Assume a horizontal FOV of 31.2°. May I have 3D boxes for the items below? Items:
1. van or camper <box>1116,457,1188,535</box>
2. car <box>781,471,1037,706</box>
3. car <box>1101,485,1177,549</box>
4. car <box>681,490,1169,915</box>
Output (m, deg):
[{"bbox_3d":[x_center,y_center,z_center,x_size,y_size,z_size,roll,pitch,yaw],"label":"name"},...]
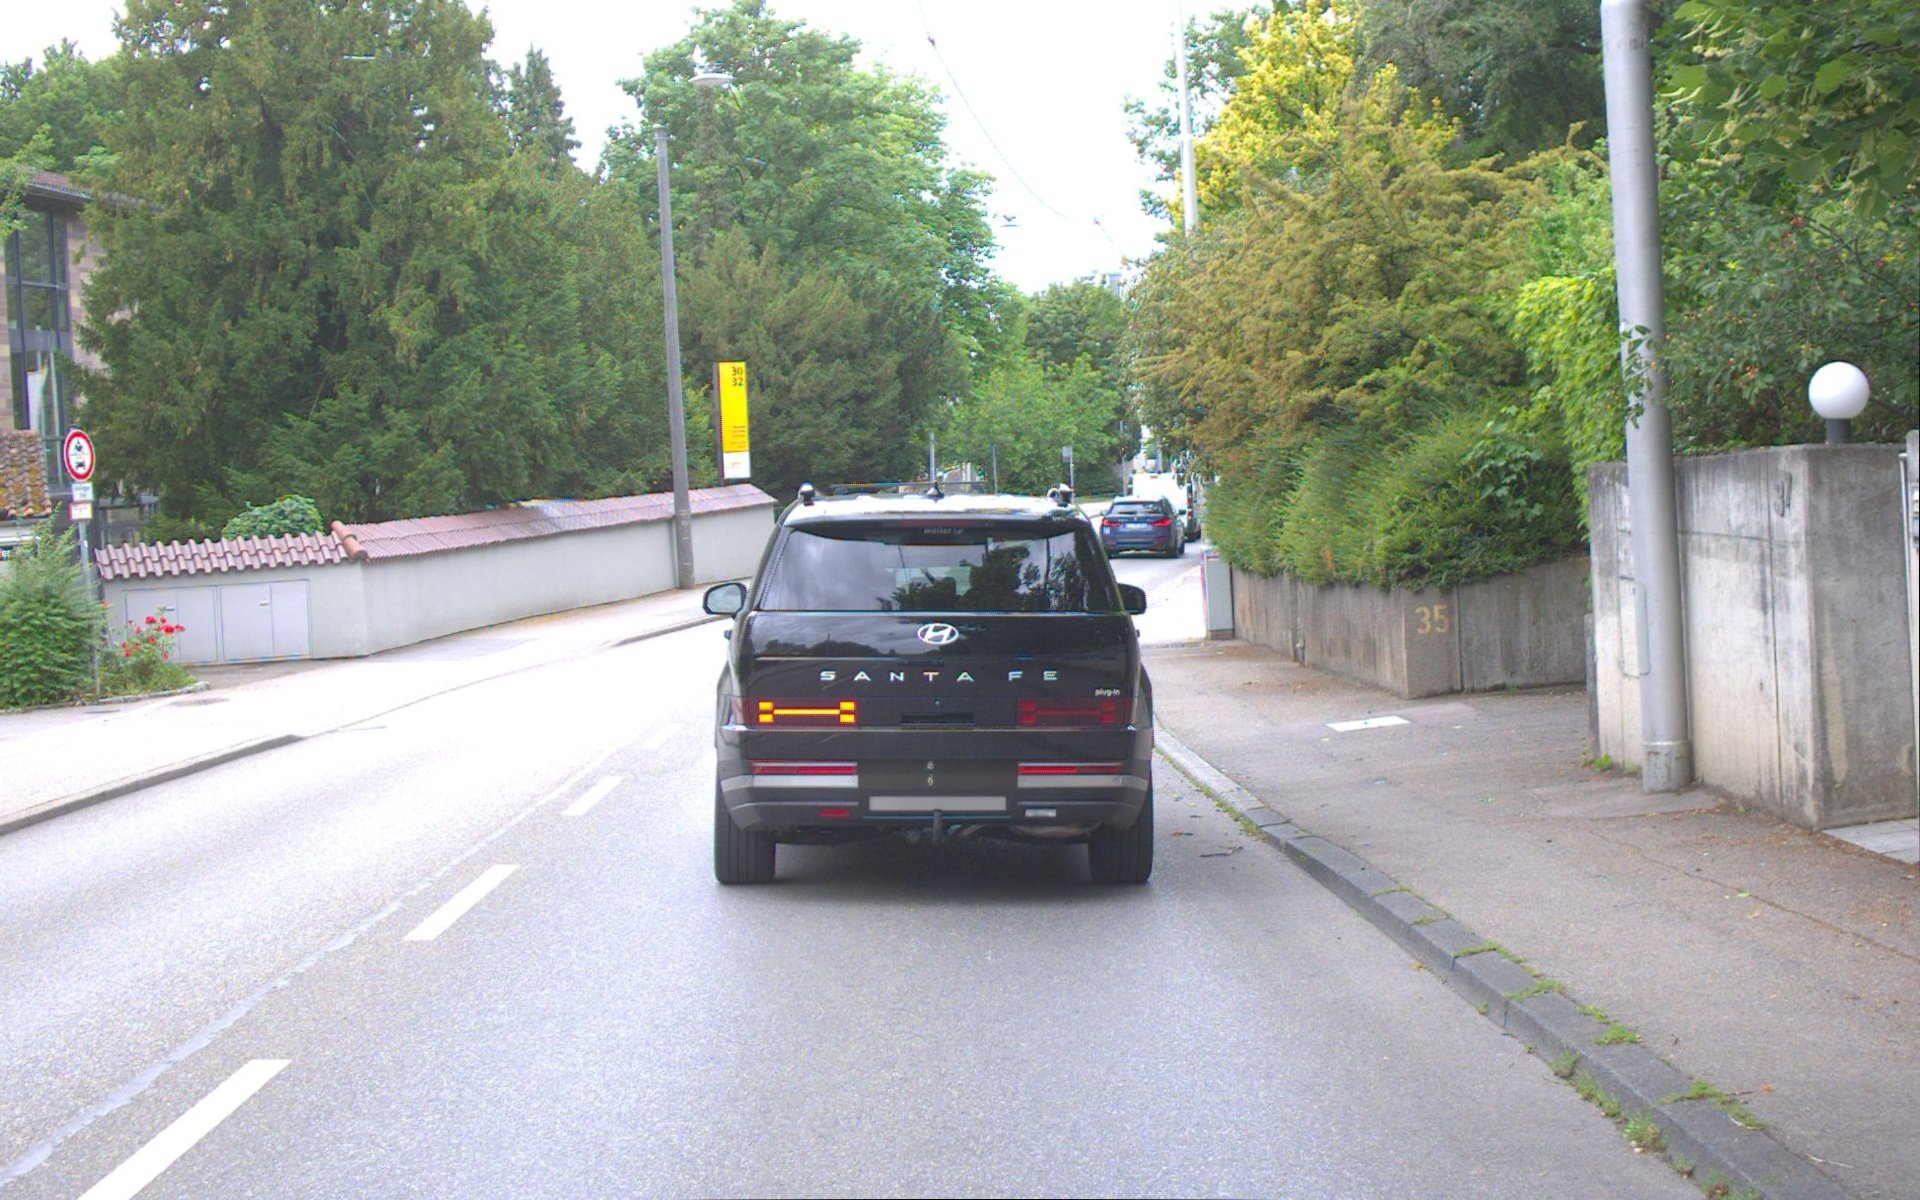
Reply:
[{"bbox_3d":[5.464,-2.976,97.472,1.676,2.000,3.937,-3,3,7],"label":"van or camper"},{"bbox_3d":[-0.397,-0.177,31.989,1.957,1.949,4.223,0,3,5],"label":"car"},{"bbox_3d":[4.331,-2.002,82.824,1.676,1.417,3.937,-3,1,4],"label":"car"},{"bbox_3d":[-0.163,0.348,15.984,1.957,1.707,4.224,0,2,-1],"label":"car"}]
